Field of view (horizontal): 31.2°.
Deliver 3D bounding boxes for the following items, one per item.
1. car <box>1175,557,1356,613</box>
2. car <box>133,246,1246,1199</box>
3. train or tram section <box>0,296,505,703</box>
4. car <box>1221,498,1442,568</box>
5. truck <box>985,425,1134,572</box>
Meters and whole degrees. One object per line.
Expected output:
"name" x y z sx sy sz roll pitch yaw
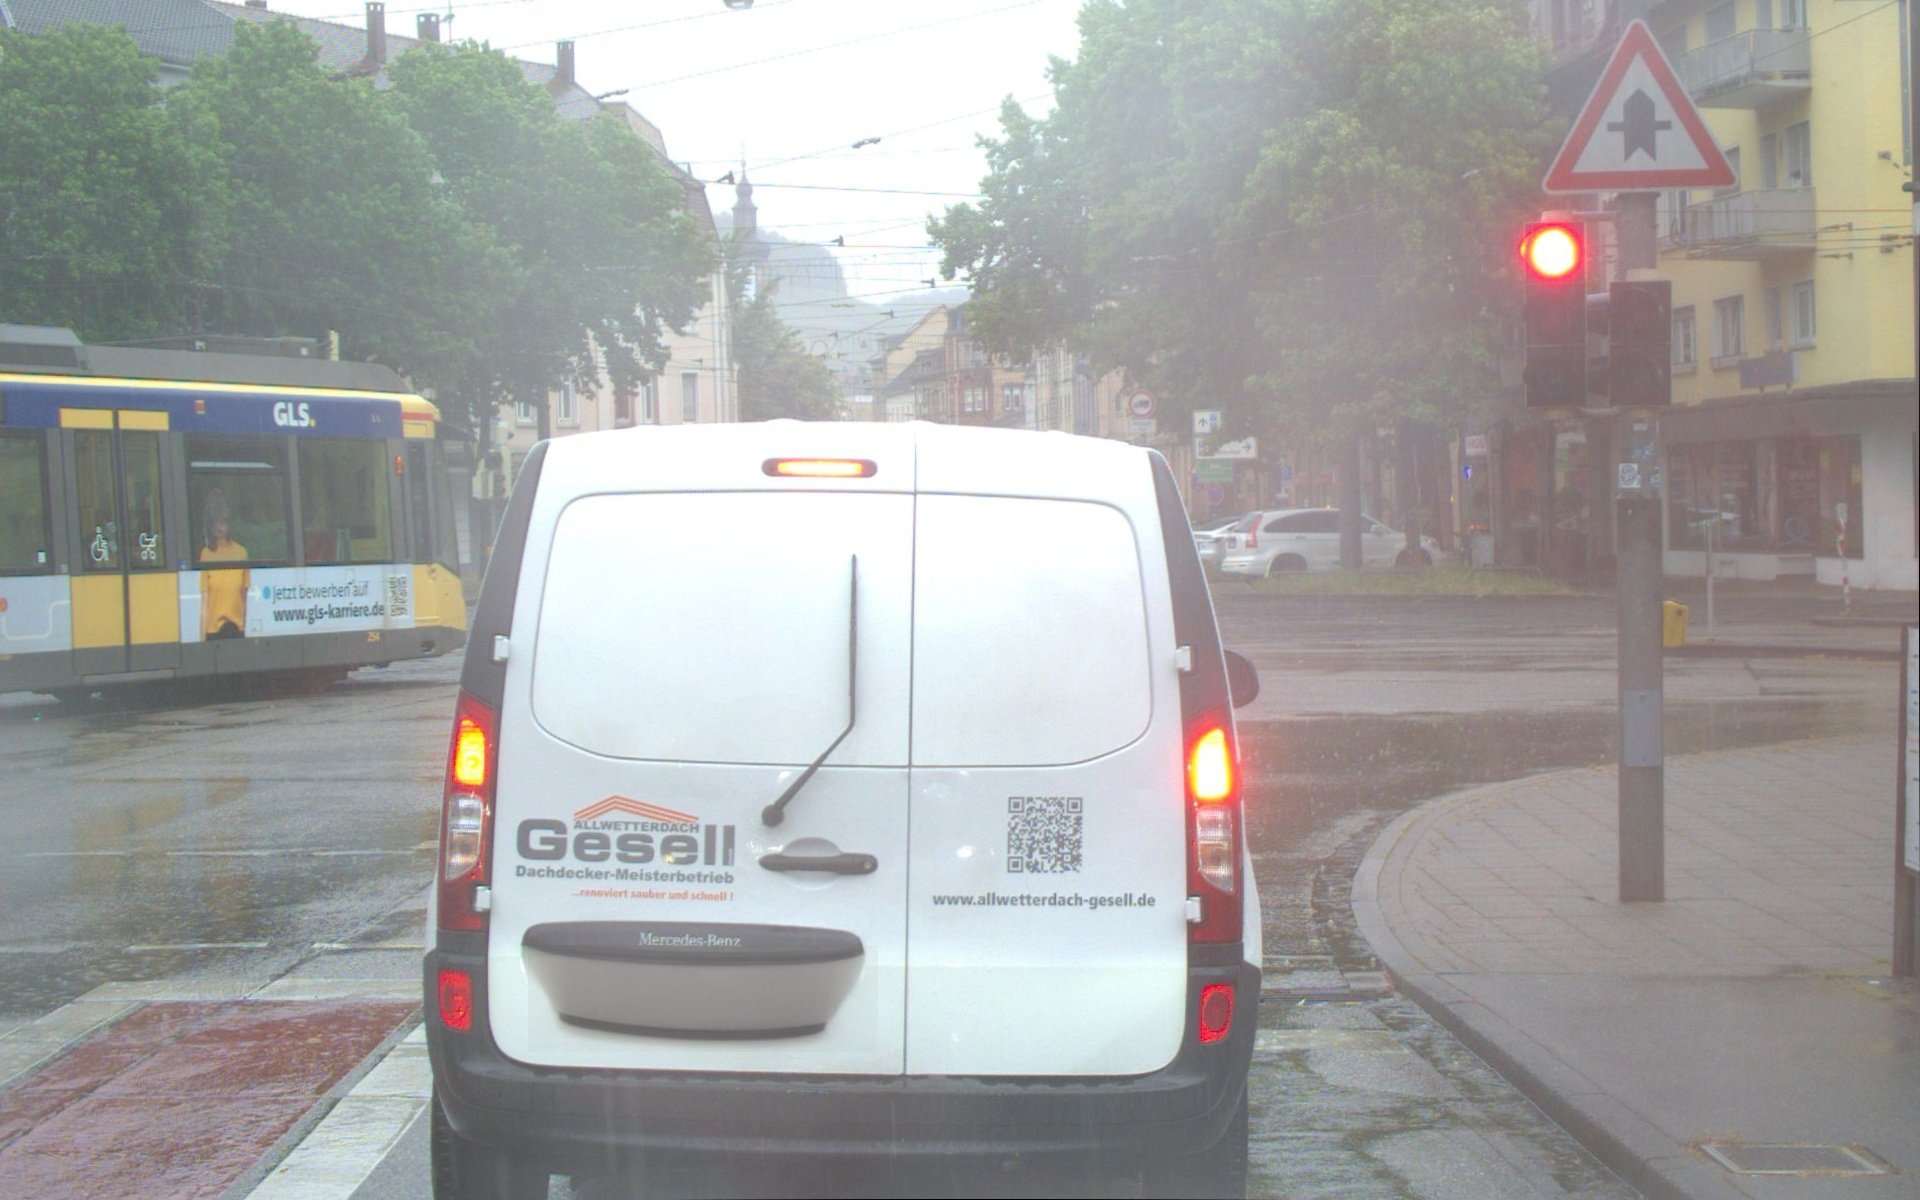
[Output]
"car" 6.249 -0.311 70.368 3.441 1.126 1.472 0 1 -8
"car" -0.539 0.311 9.006 2.100 2.005 4.963 0 1 -1
"train or tram section" -9.451 -0.882 29.911 3.545 3.401 15.486 1 1 23
"car" 7.435 -1.346 68.944 4.165 1.334 1.521 -1 2 -7
"truck" 3.496 -3.617 126.535 3.469 5.070 15.310 0 1 -6
